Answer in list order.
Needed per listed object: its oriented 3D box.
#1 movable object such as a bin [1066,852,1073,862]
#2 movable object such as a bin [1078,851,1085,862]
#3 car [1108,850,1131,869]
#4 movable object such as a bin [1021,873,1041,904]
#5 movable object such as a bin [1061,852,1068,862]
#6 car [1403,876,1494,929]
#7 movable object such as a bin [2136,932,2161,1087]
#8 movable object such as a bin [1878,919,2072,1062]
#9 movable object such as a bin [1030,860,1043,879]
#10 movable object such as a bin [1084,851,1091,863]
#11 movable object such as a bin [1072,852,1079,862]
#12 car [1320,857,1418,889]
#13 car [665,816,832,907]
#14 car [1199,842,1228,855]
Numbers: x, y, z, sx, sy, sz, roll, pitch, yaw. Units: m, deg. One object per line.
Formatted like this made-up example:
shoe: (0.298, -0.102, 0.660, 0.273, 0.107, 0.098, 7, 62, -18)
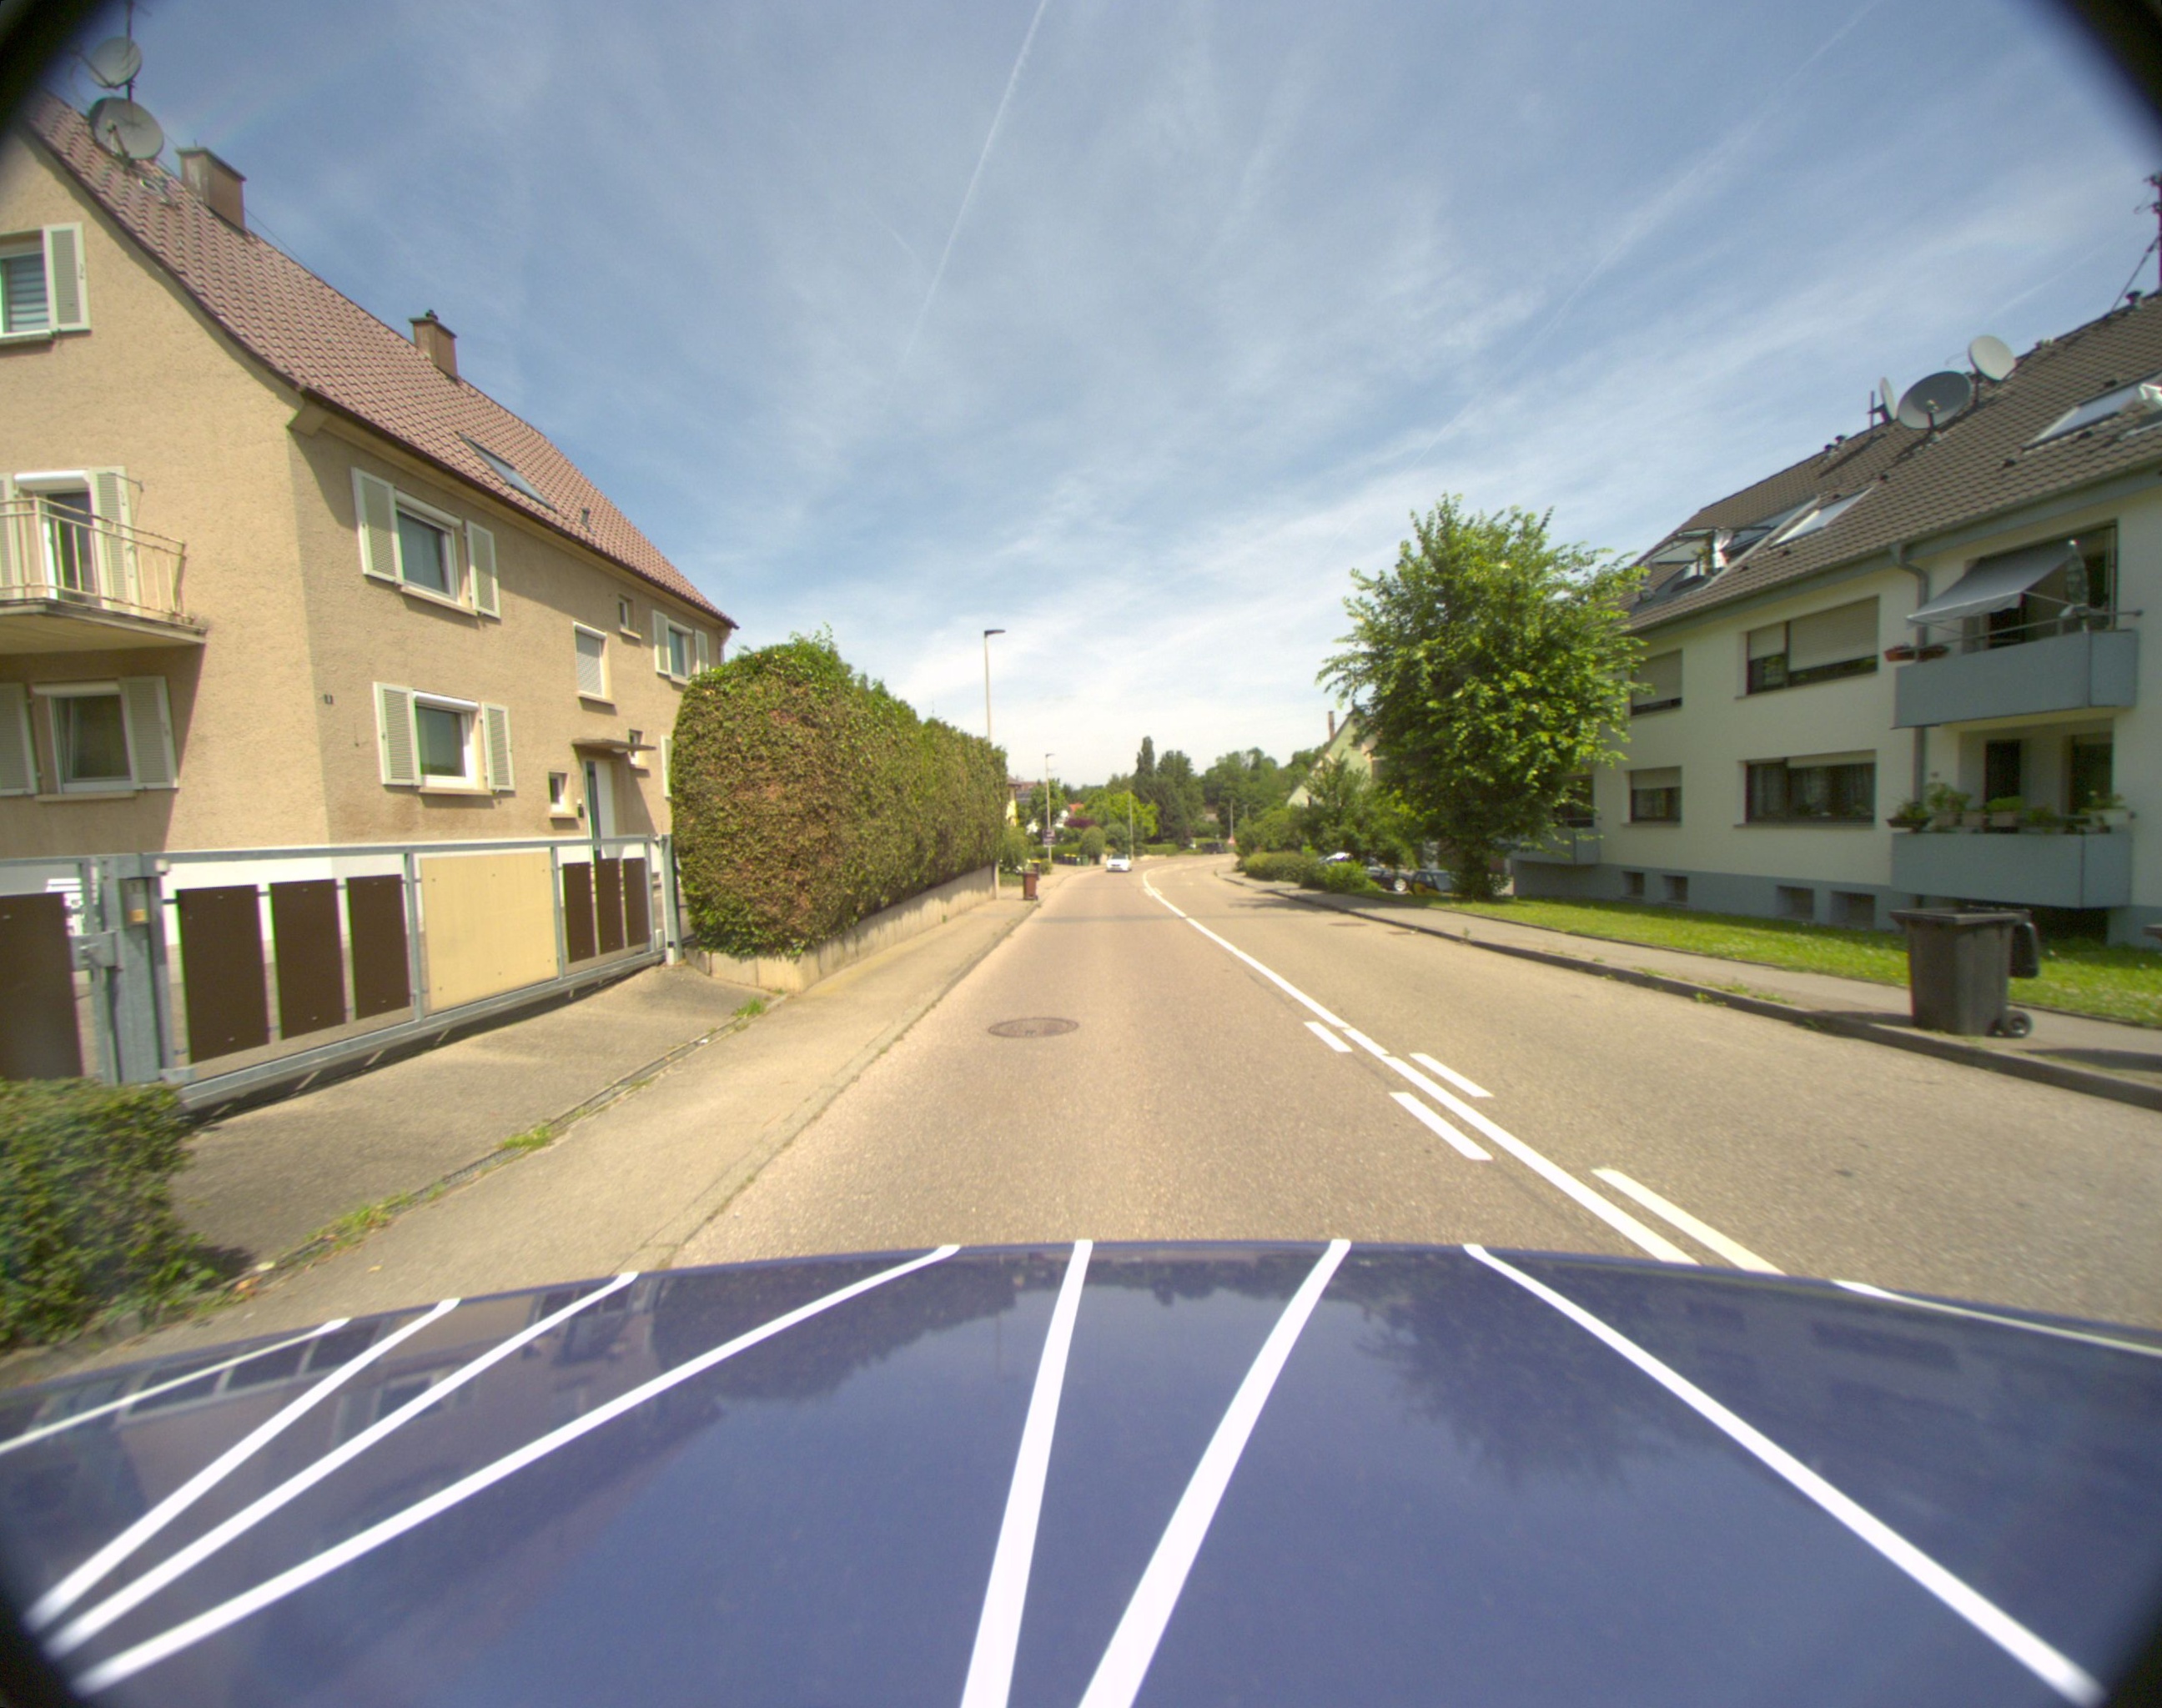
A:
movable object such as a bin: (-1.108, 0.280, 75.356, 0.484, 1.016, 0.565, 2, 2, 22)
movable object such as a bin: (0.015, 0.289, 74.903, 0.485, 1.064, 0.565, -1, 1, 22)
car: (3.249, 0.422, 63.153, 1.826, 1.543, 4.001, -1, 1, 4)
movable object such as a bin: (-1.665, 1.144, 25.463, 0.589, 0.972, 0.786, 1, 1, 1)
movable object such as a bin: (-1.647, 0.332, 75.571, 0.449, 0.950, 0.516, -1, 1, 19)
car: (13.109, 1.692, 27.293, 1.475, 1.532, 3.230, -1, 3, -5)
movable object such as a bin: (6.704, 0.935, 4.301, 0.564, 0.912, 0.643, -1, 1, 8)
movable object such as a bin: (6.470, 0.961, 5.540, 0.620, 0.912, 0.686, -1, 1, 8)
movable object such as a bin: (-2.448, 0.862, 42.096, 0.589, 1.053, 0.919, -1, 1, 4)
movable object such as a bin: (0.648, 0.278, 74.712, 0.485, 1.101, 0.565, -1, 1, 15)
movable object such as a bin: (-0.503, 0.306, 75.139, 0.484, 1.016, 0.565, 2, 2, 22)
car: (13.625, 0.886, 36.044, 3.966, 1.240, 1.646, 4, 1, 1)
car: (-6.341, 0.047, 14.945, 1.609, 1.474, 3.557, -2, 4, 1)
car: (20.580, -0.838, 117.690, 3.900, 1.938, 1.959, -1, 1, 34)
